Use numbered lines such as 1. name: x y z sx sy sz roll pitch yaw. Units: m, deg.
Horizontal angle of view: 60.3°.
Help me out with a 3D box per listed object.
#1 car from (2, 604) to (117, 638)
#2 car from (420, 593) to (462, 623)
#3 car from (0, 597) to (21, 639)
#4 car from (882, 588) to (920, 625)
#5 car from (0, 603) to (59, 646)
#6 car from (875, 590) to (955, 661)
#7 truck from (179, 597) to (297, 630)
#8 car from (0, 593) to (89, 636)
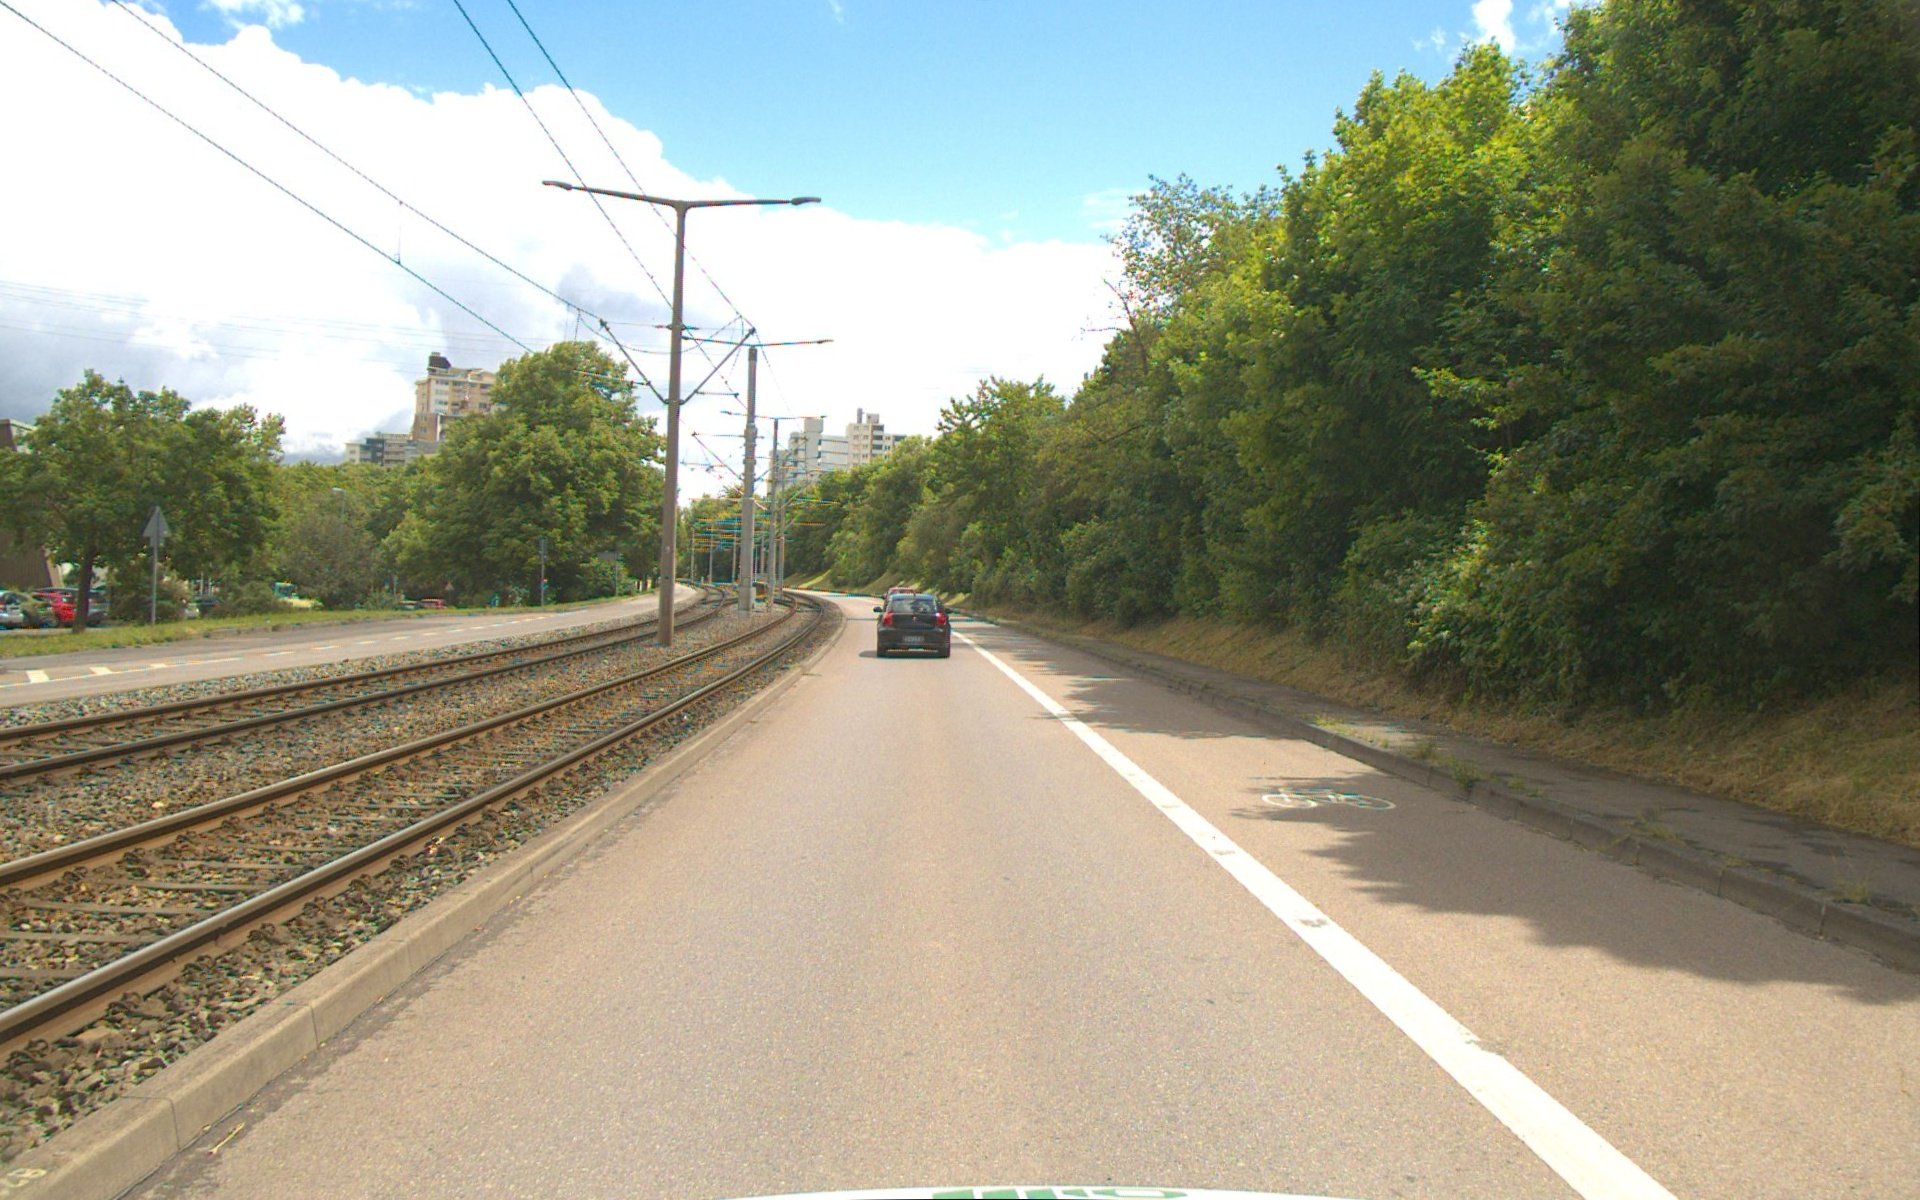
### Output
1. car: -40.207 0.909 73.923 3.998 1.274 1.997 3 1 1
2. car: -32.863 0.508 104.897 1.781 1.803 3.995 1 1 -7
3. car: -40.140 0.657 66.211 3.873 1.607 1.994 3 1 1
4. car: -2.606 0.294 73.927 1.591 1.469 3.420 3 -2 -1
5. car: -40.191 0.981 69.119 3.873 1.607 1.997 3 1 1
6. car: -1.041 0.580 38.577 1.674 1.486 3.959 3 -1 -1
7. truck: -62.512 1.111 143.380 9.025 2.742 2.580 -1 0 -38
8. car: -40.060 0.605 71.285 3.873 1.607 1.997 3 1 1
